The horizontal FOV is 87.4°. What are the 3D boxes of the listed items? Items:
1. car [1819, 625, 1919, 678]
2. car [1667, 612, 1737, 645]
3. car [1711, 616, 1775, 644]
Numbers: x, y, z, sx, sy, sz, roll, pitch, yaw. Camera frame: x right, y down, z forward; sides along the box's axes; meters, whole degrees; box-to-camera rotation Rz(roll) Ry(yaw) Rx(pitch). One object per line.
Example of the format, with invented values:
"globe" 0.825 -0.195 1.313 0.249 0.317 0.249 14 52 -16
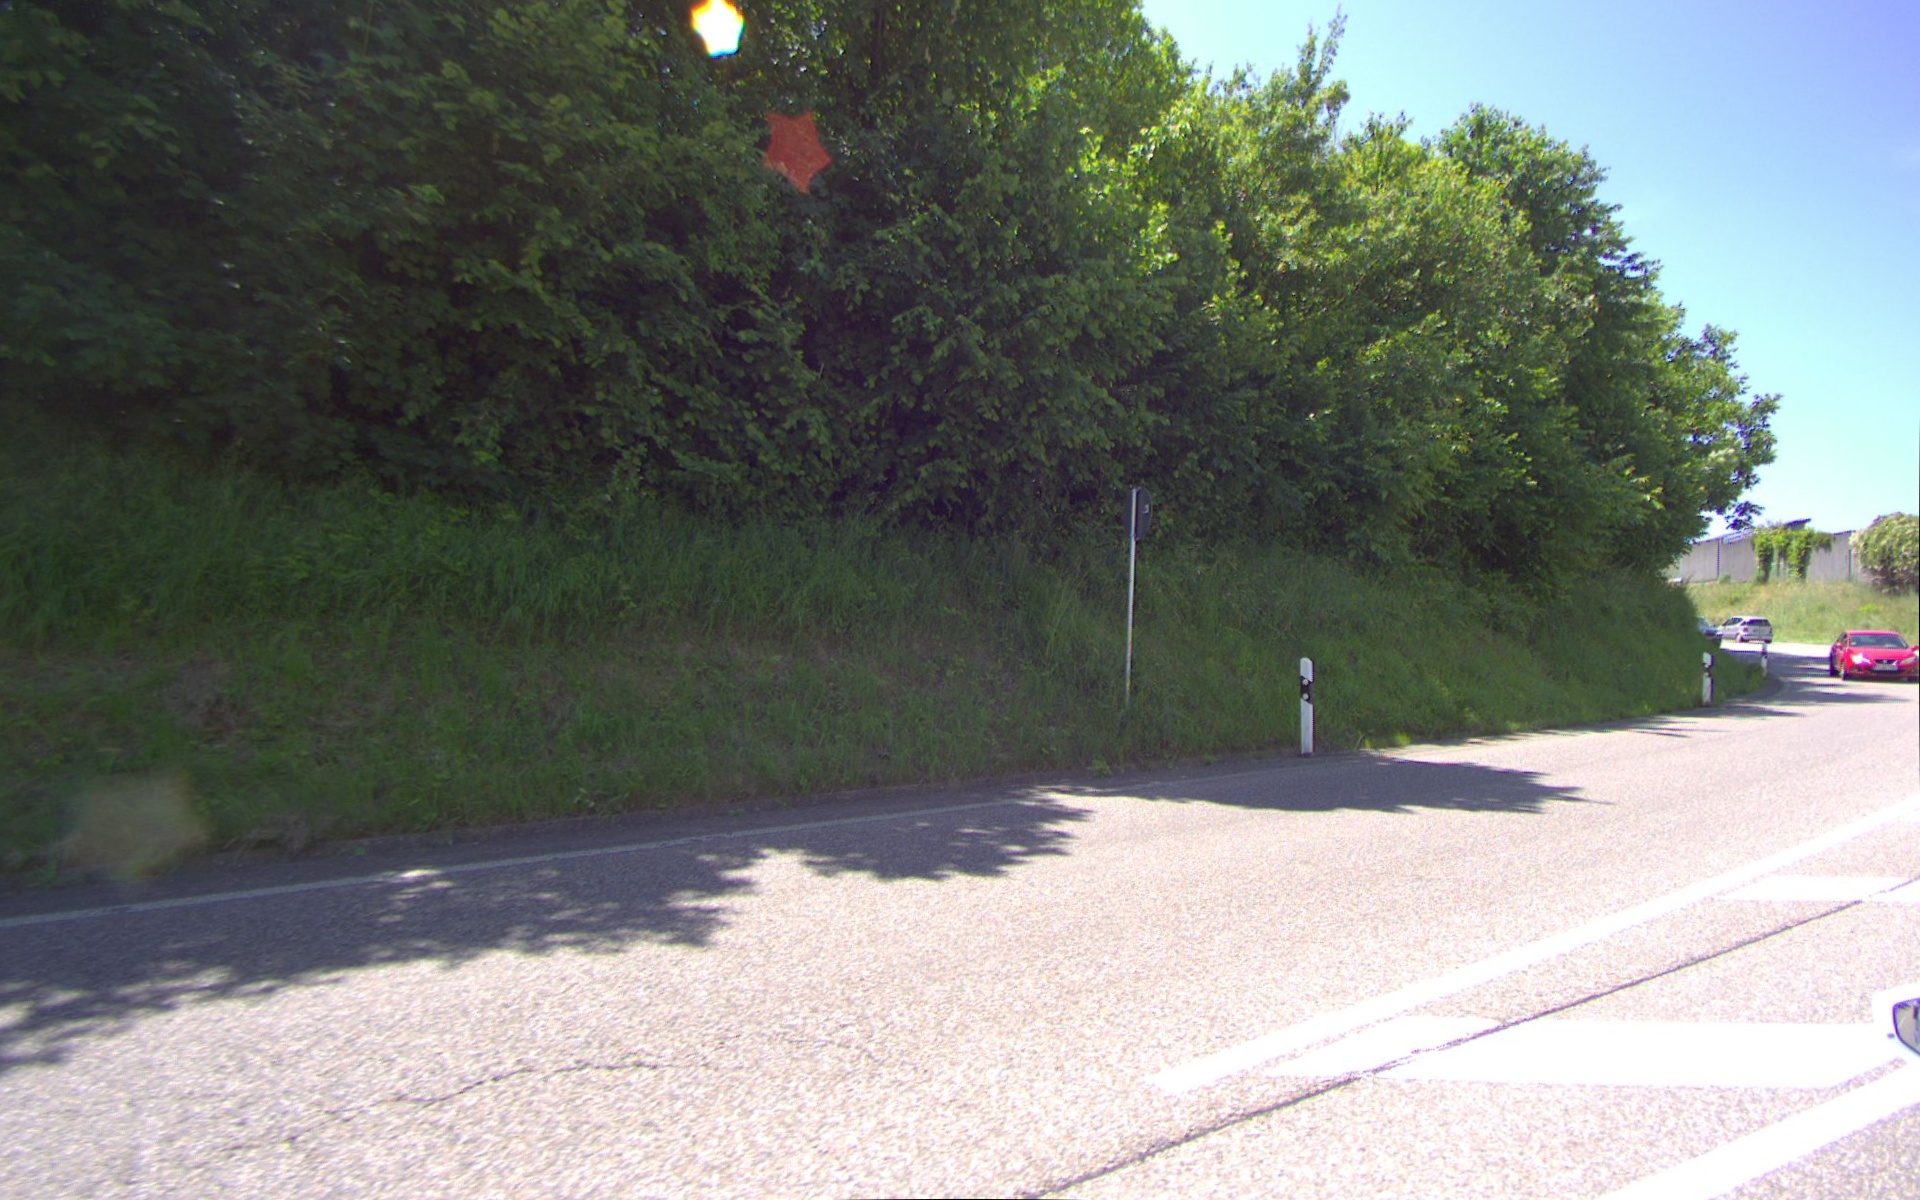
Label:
"car" 27.165 1.478 30.090 1.726 1.467 3.988 -1 -2 35
"car" 38.279 1.443 51.925 1.762 1.626 4.179 -2 -1 21
"car" 46.851 1.768 60.187 1.620 1.529 3.640 4 1 14
